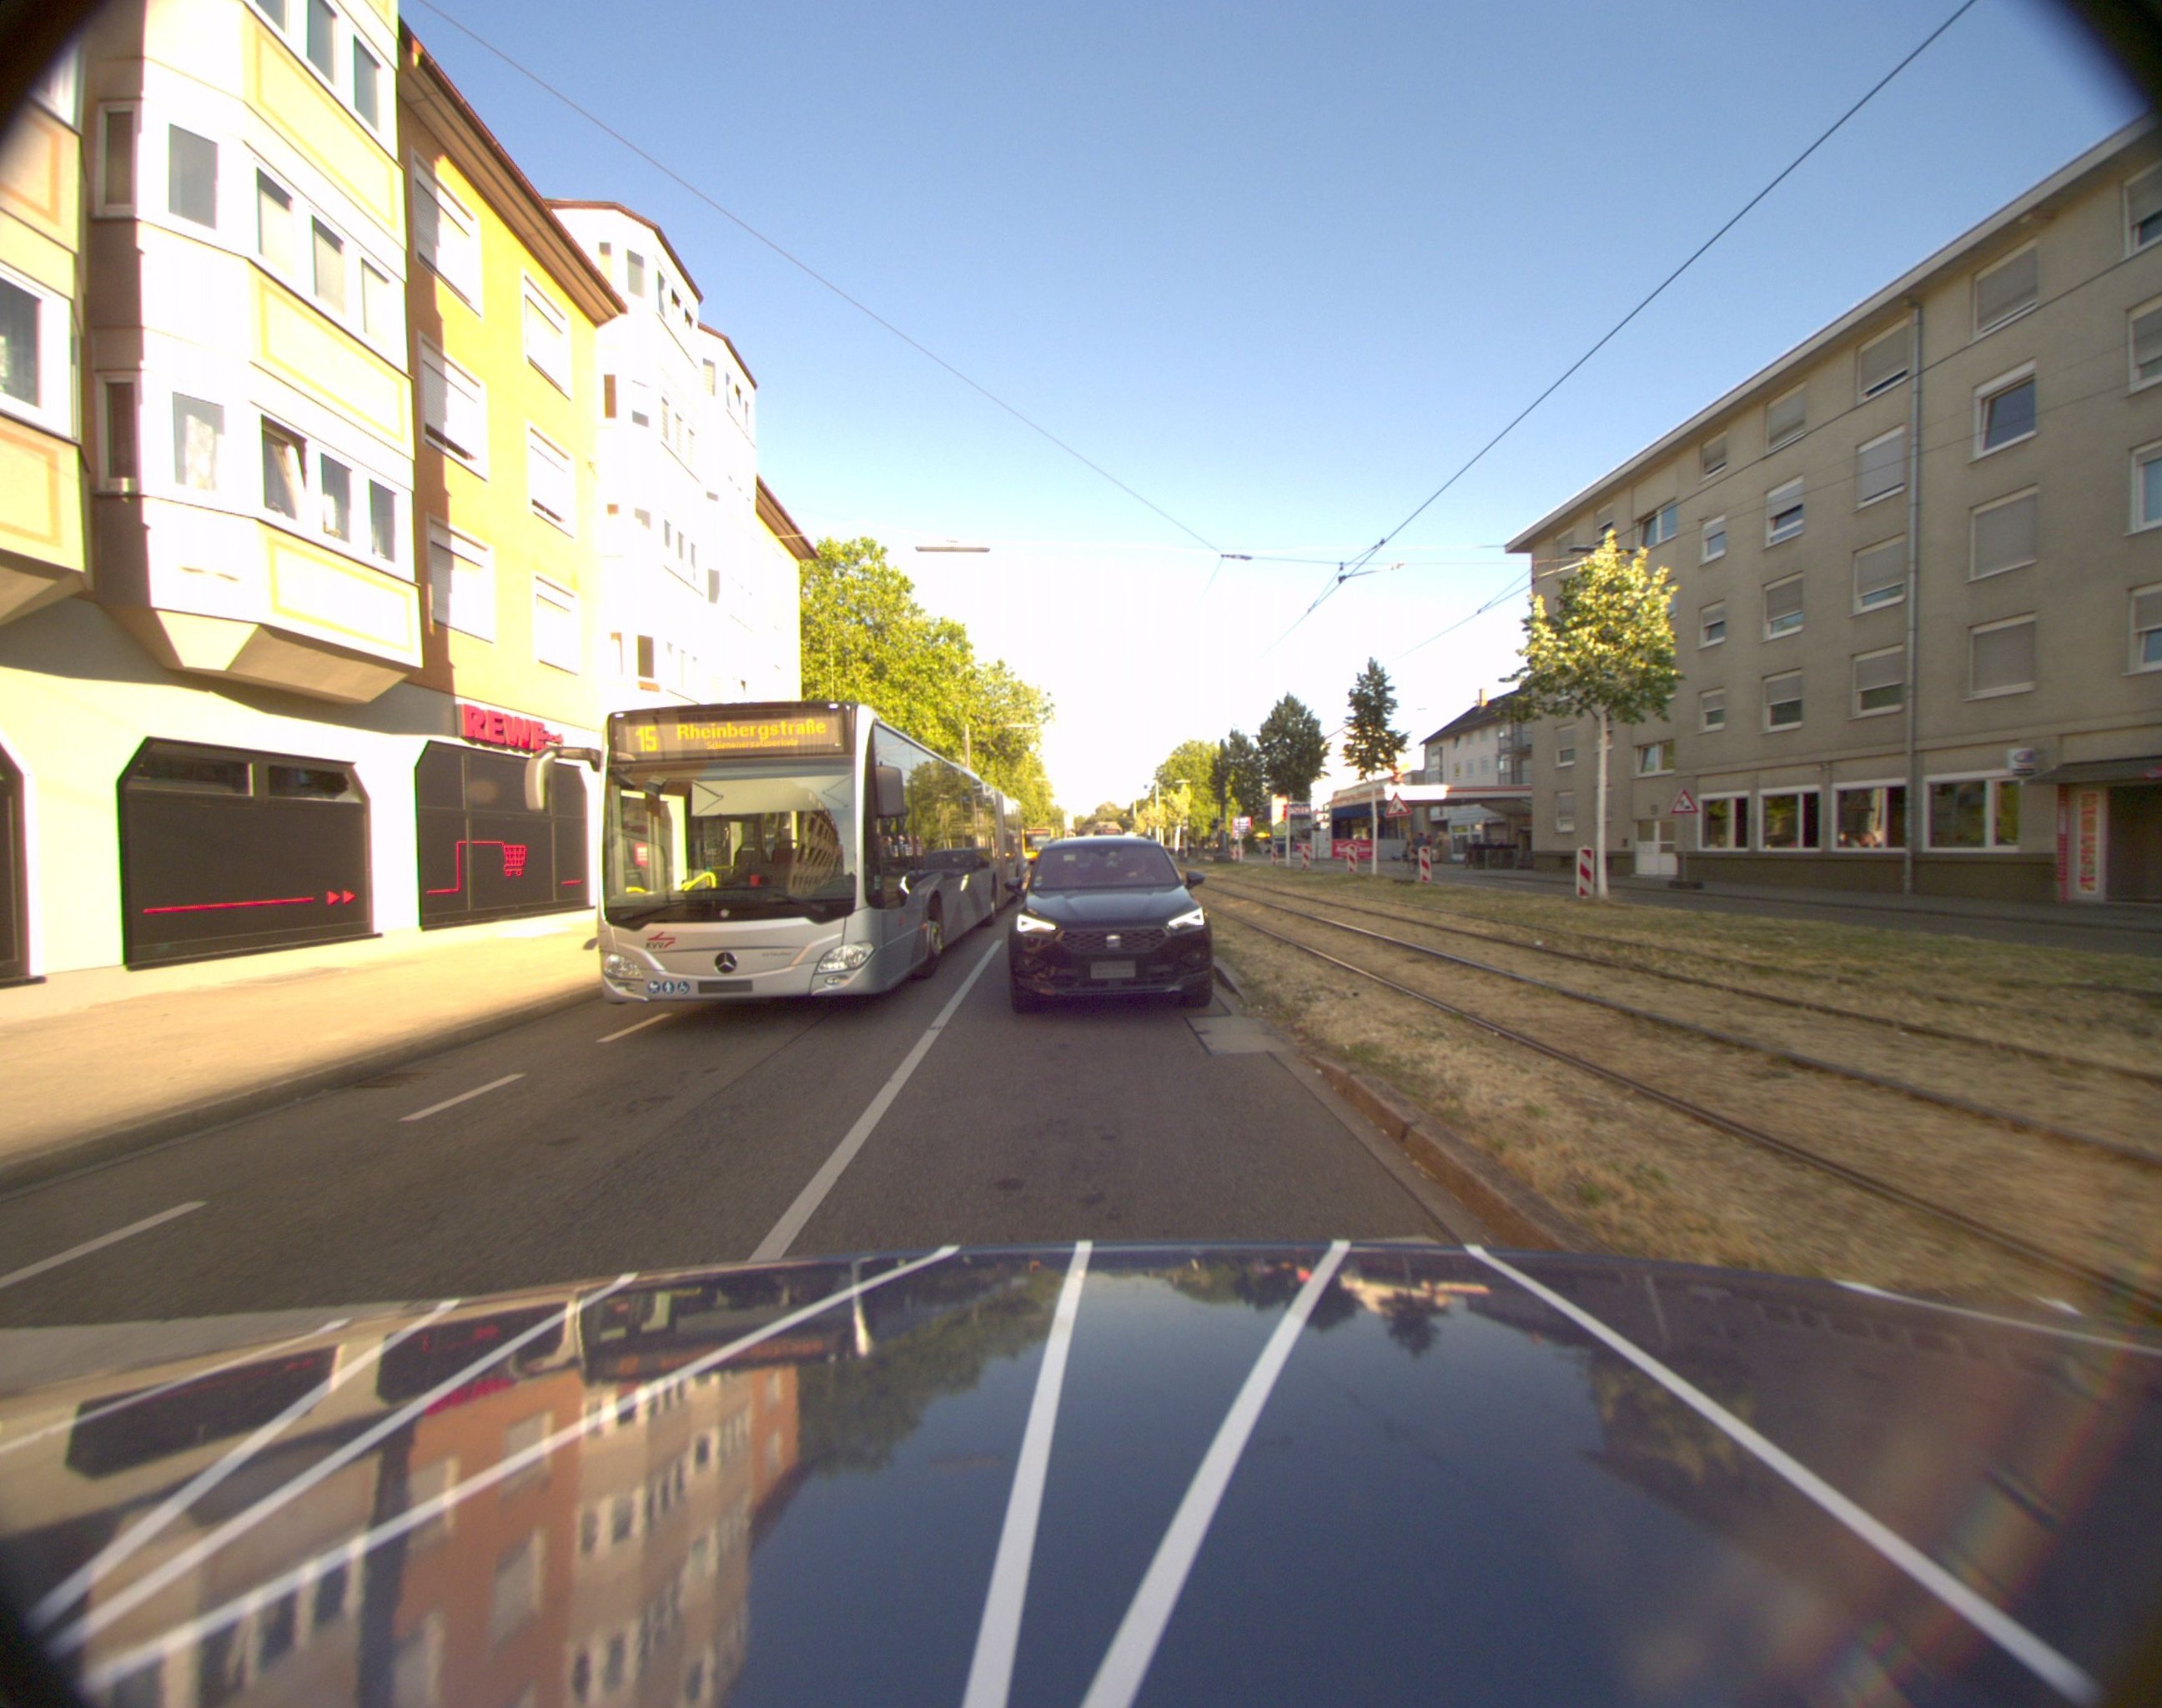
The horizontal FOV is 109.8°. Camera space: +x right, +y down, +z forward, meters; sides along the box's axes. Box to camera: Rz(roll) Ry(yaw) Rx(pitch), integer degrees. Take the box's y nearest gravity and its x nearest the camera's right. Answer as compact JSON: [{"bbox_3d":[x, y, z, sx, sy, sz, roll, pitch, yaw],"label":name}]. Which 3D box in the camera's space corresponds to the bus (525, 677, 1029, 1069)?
[{"bbox_3d":[-3.061,-0.015,15.056,2.773,3.132,17.736,-1,1,0],"label":"bus"}]

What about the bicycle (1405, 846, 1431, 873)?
[{"bbox_3d":[15.990,0.257,36.115,0.456,1.250,1.871,-1,0,2],"label":"bicycle"}]

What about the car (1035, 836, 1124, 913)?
[{"bbox_3d":[-0.067,0.442,19.367,1.999,1.740,3.999,-1,1,-1],"label":"car"}]

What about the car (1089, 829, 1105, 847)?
[{"bbox_3d":[1.871,-1.944,91.747,1.767,2.002,3.790,-2,2,-1],"label":"car"}]

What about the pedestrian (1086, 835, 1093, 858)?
[{"bbox_3d":[0.781,-0.688,69.635,0.625,2.002,0.695,-2,1,-1],"label":"pedestrian"}]

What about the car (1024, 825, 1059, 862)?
[{"bbox_3d":[-3.253,-0.940,63.778,2.681,2.875,5.450,-2,2,-1],"label":"car"}]

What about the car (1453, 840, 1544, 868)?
[{"bbox_3d":[21.873,0.018,39.877,3.728,1.460,1.908,0,-1,-2],"label":"car"}]

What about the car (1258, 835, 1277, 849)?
[{"bbox_3d":[22.942,-1.498,93.542,1.781,1.547,4.001,-2,2,8],"label":"car"}]

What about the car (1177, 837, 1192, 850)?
[{"bbox_3d":[15.053,-1.512,110.484,1.998,1.725,4.394,-2,2,5],"label":"car"}]

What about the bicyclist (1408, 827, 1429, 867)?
[{"bbox_3d":[16.002,-0.333,36.056,0.652,1.872,0.809,0,1,2],"label":"bicyclist"}]

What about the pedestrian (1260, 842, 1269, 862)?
[{"bbox_3d":[18.670,-0.240,77.364,0.632,2.002,0.583,-6,2,0],"label":"pedestrian"}]

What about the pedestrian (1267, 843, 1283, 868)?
[{"bbox_3d":[10.106,0.068,39.640,0.664,1.263,0.581,-2,1,0],"label":"pedestrian"}]

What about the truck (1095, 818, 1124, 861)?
[{"bbox_3d":[2.642,-1.427,72.650,2.306,3.799,7.720,-2,2,-1],"label":"truck"}]

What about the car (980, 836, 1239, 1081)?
[{"bbox_3d":[0.183,0.714,7.405,1.775,1.667,3.999,-3,1,-1],"label":"car"}]
